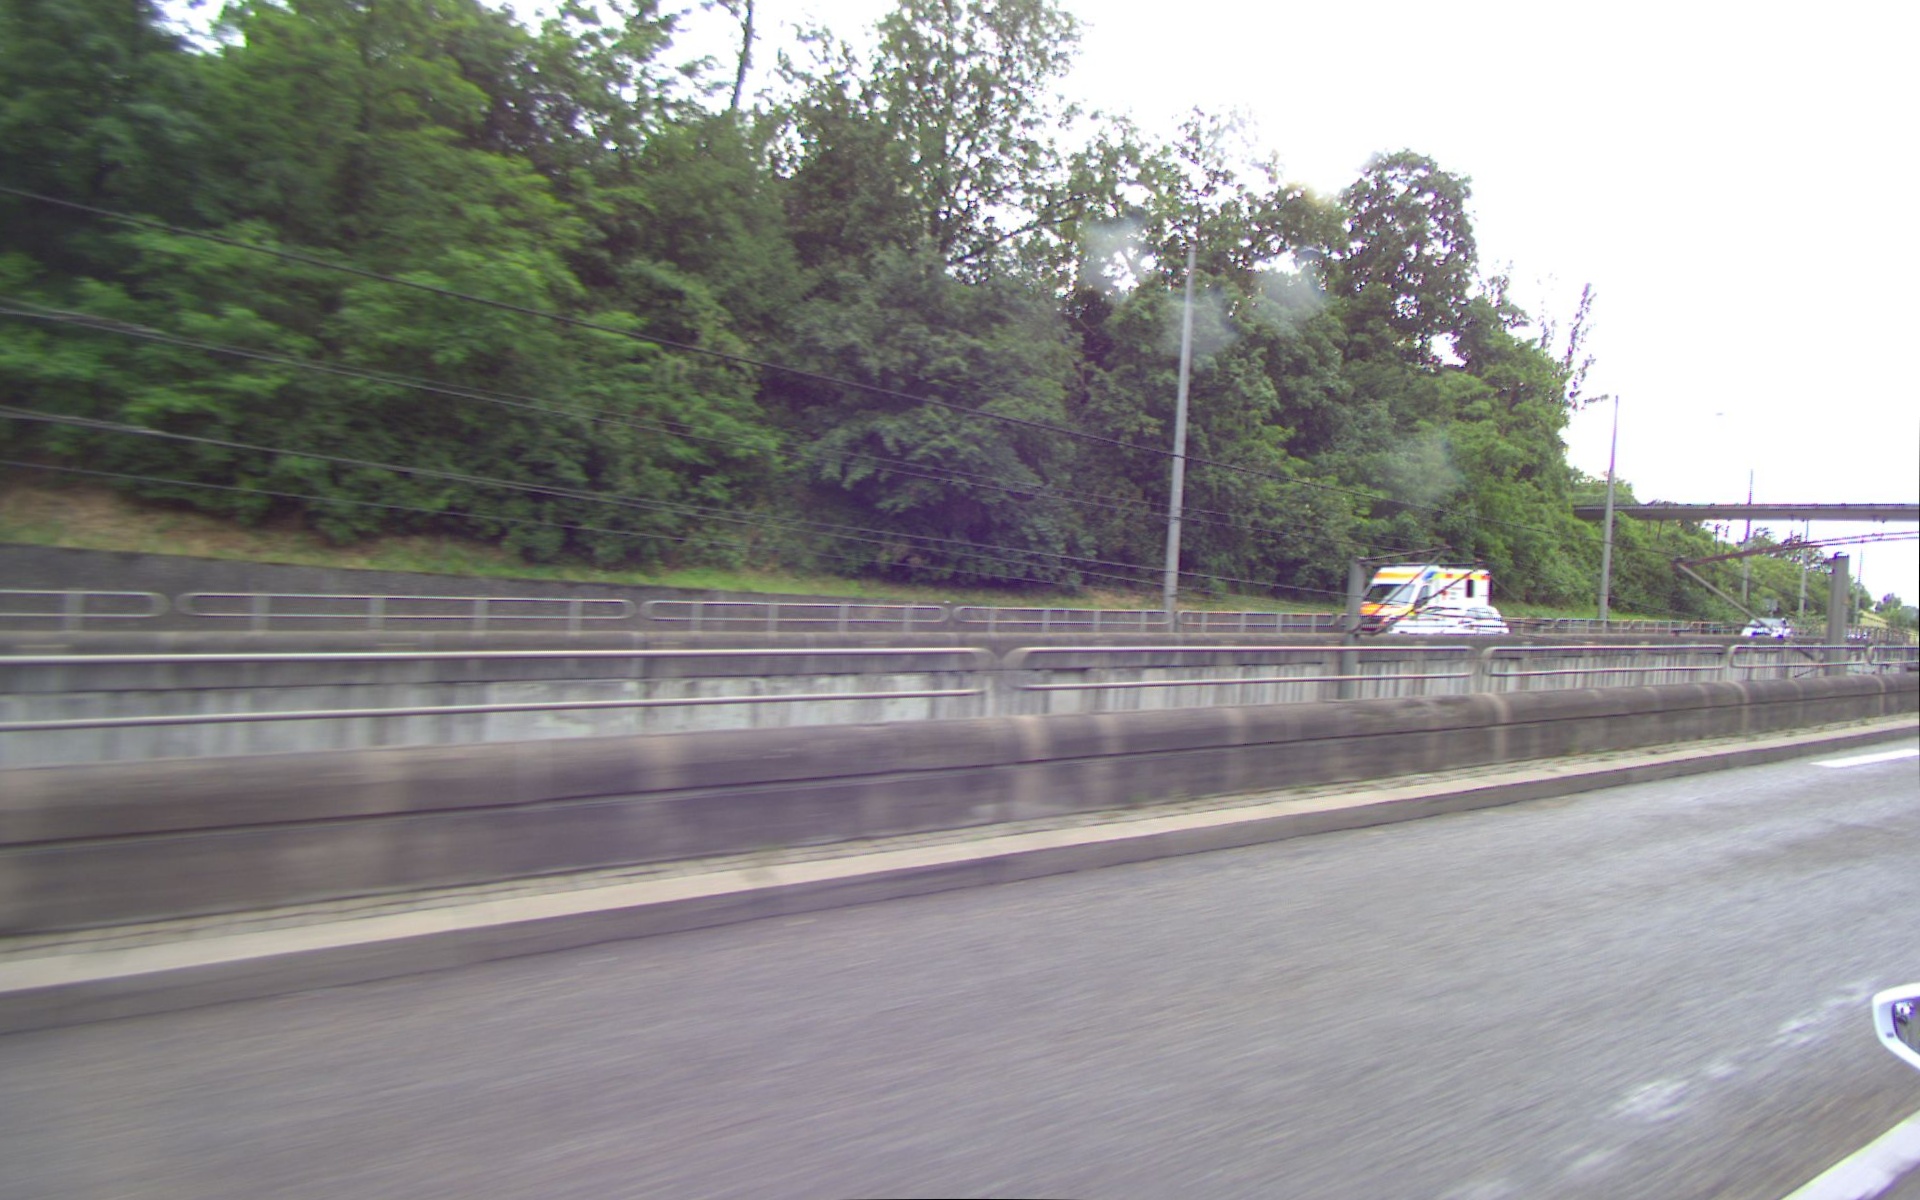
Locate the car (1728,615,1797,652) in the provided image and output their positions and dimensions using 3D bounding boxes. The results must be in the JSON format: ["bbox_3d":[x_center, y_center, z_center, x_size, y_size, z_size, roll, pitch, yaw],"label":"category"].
[{"bbox_3d":[40.394,1.708,50.531,4.107,1.773,1.945,2,-1,-40],"label":"car"}]

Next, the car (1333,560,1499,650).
[{"bbox_3d":[15.494,0.237,33.978,6.280,2.770,2.169,2,-1,-34],"label":"car"}]

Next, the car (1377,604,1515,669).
[{"bbox_3d":[14.049,1.055,28.971,4.069,1.726,1.806,2,-1,-34],"label":"car"}]
